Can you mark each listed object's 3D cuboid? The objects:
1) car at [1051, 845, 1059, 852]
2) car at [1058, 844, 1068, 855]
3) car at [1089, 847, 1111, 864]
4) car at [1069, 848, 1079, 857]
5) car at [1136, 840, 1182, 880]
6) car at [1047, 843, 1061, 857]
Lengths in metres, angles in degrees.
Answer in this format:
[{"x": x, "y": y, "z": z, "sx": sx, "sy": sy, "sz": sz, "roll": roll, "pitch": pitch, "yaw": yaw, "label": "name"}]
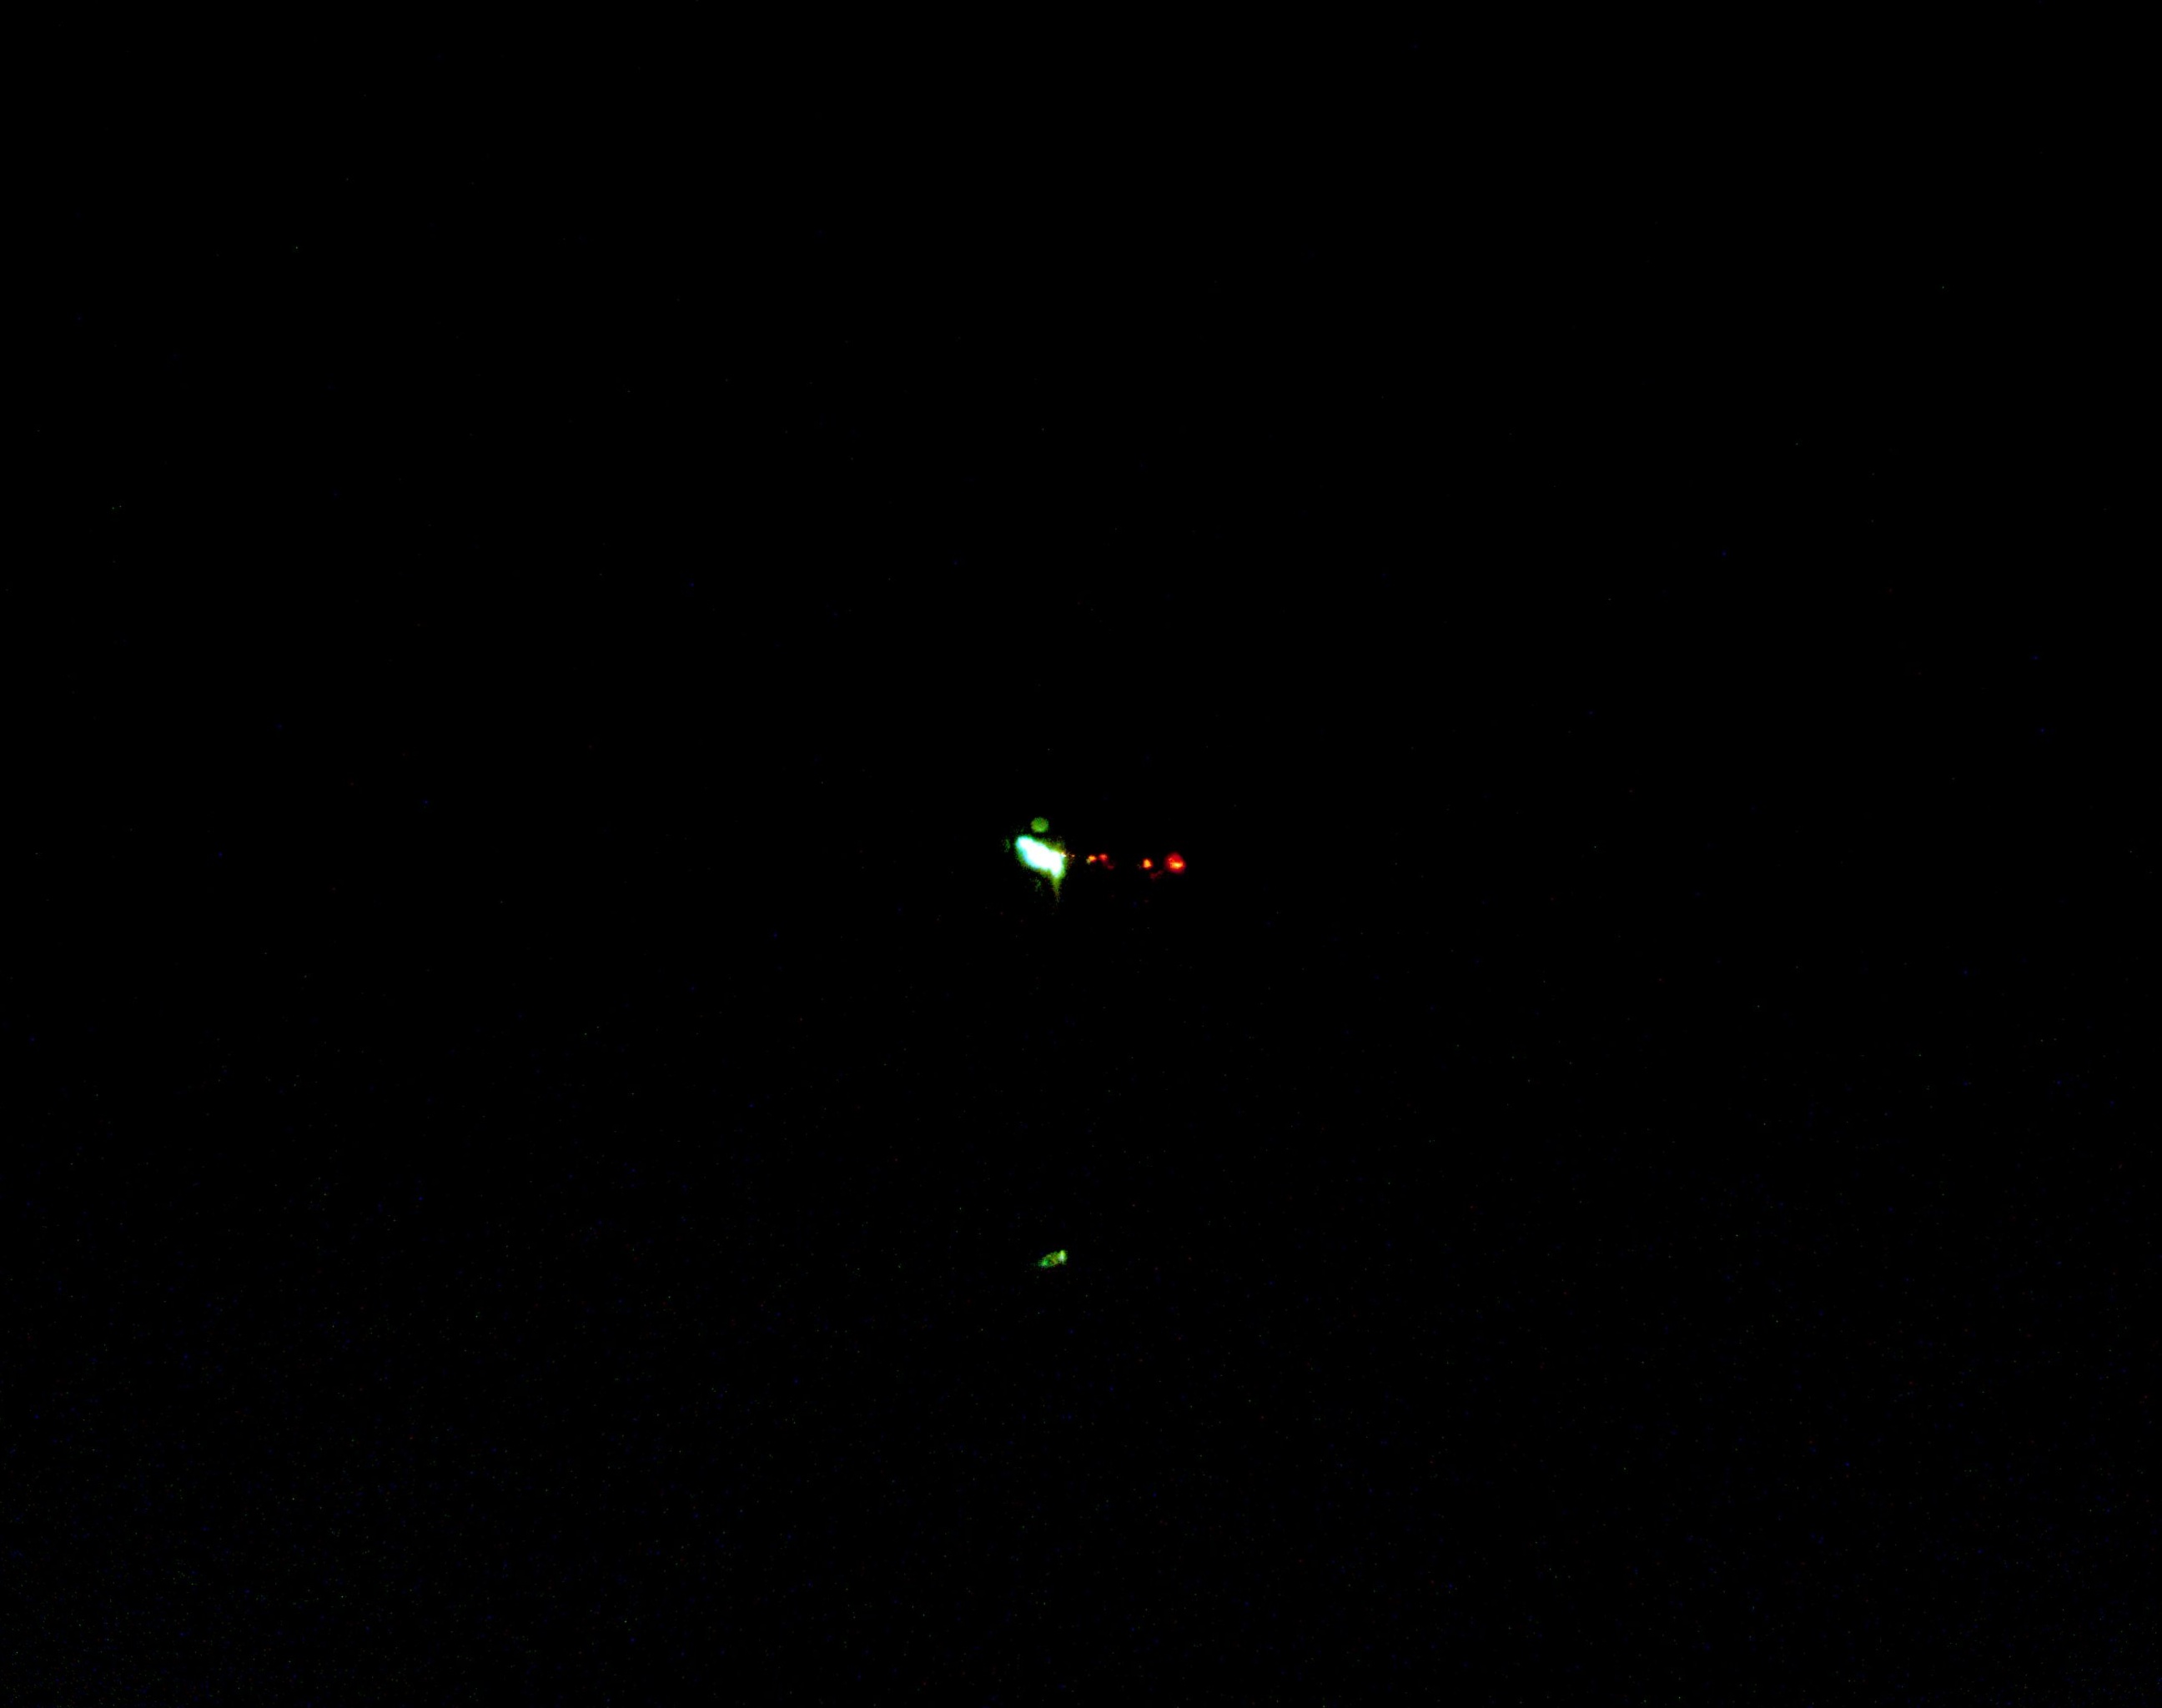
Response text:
[{"x": -6.629, "y": -1.410, "z": 193.377, "sx": 1.825, "sy": 1.433, "sz": 3.997, "roll": -1, "pitch": 2, "yaw": -4, "label": "car"}, {"x": -3.656, "y": -0.923, "z": 152.944, "sx": 1.809, "sy": 1.917, "sz": 3.997, "roll": -1, "pitch": 2, "yaw": -3, "label": "car"}, {"x": 1.937, "y": 0.148, "z": 77.611, "sx": 1.999, "sy": 1.615, "sz": 3.999, "roll": -2, "pitch": 1, "yaw": -2, "label": "car"}, {"x": -1.194, "y": -0.315, "z": 130.983, "sx": 1.601, "sy": 1.394, "sz": 3.468, "roll": -1, "pitch": 2, "yaw": -4, "label": "car"}, {"x": 4.037, "y": 0.296, "z": 40.087, "sx": 1.998, "sy": 2.002, "sz": 4.274, "roll": 0, "pitch": 0, "yaw": 0, "label": "car"}, {"x": -4.019, "y": -0.583, "z": 112.628, "sx": 1.999, "sy": 2.002, "sz": 3.997, "roll": 0, "pitch": 2, "yaw": -4, "label": "car"}]
